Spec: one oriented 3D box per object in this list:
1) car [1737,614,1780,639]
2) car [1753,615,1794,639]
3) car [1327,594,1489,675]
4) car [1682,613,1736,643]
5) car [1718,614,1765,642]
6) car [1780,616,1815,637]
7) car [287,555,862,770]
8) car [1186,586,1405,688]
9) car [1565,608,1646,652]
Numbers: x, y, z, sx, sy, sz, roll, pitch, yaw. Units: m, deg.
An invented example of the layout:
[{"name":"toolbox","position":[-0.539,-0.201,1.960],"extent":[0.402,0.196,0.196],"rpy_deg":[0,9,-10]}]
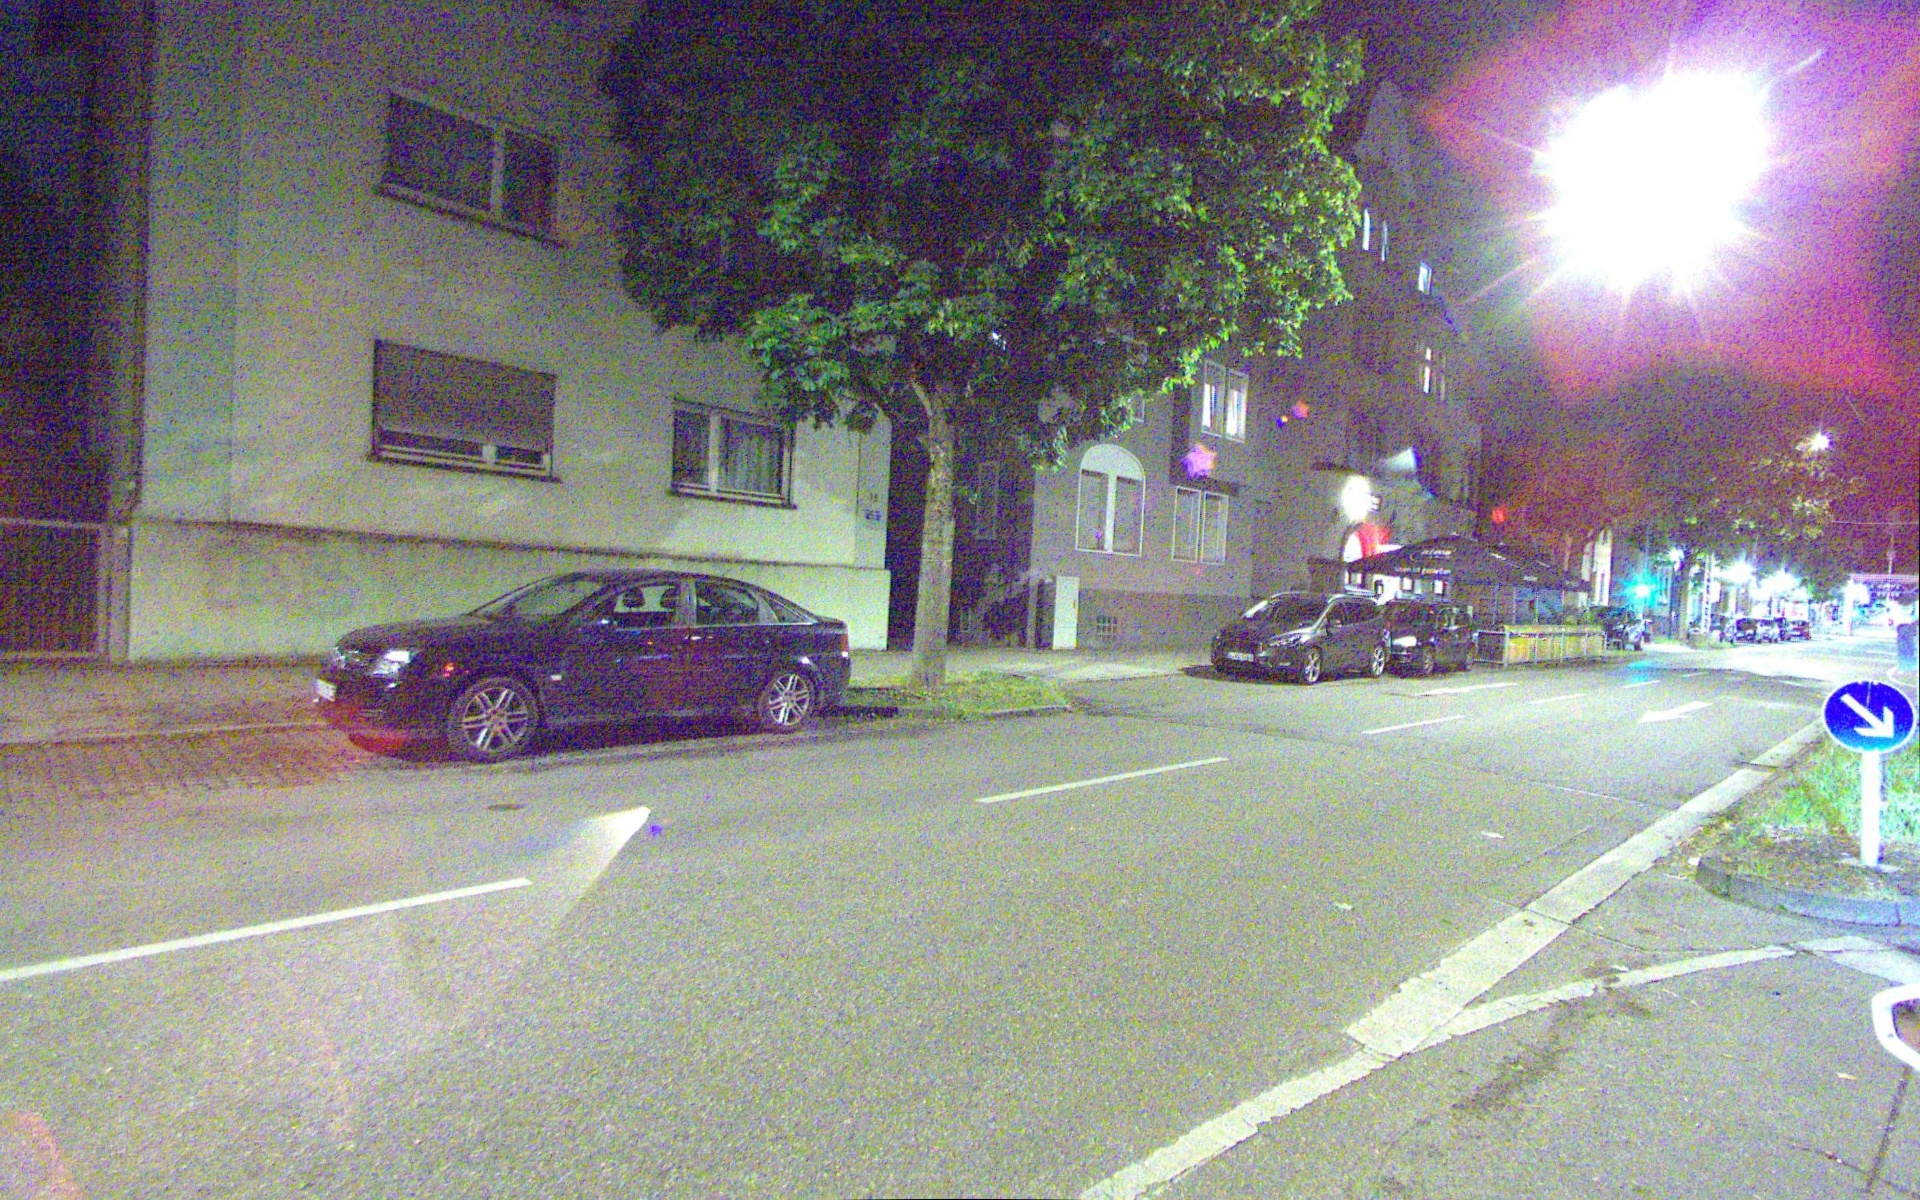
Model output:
[{"name":"car","position":[49.253,1.618,61.951],"extent":[1.634,1.450,3.975],"rpy_deg":[3,1,45]},{"name":"car","position":[53.962,1.786,66.610],"extent":[1.634,1.450,3.975],"rpy_deg":[3,1,45]},{"name":"car","position":[9.730,0.722,21.643],"extent":[1.785,1.501,4.297],"rpy_deg":[4,1,44]},{"name":"car","position":[38.854,1.449,52.082],"extent":[1.634,1.450,3.975],"rpy_deg":[3,1,45]},{"name":"car","position":[44.847,1.598,57.608],"extent":[1.634,1.450,3.975],"rpy_deg":[3,1,45]},{"name":"car","position":[63.614,2.005,76.256],"extent":[1.634,1.450,3.975],"rpy_deg":[3,1,45]},{"name":"car","position":[-3.051,0.432,8.768],"extent":[1.604,1.401,4.428],"rpy_deg":[3,1,42]},{"name":"car","position":[6.130,0.608,18.079],"extent":[4.423,1.491,1.880],"rpy_deg":[1,4,-45]},{"name":"car","position":[23.606,1.074,36.682],"extent":[1.634,1.450,3.975],"rpy_deg":[3,1,45]}]
